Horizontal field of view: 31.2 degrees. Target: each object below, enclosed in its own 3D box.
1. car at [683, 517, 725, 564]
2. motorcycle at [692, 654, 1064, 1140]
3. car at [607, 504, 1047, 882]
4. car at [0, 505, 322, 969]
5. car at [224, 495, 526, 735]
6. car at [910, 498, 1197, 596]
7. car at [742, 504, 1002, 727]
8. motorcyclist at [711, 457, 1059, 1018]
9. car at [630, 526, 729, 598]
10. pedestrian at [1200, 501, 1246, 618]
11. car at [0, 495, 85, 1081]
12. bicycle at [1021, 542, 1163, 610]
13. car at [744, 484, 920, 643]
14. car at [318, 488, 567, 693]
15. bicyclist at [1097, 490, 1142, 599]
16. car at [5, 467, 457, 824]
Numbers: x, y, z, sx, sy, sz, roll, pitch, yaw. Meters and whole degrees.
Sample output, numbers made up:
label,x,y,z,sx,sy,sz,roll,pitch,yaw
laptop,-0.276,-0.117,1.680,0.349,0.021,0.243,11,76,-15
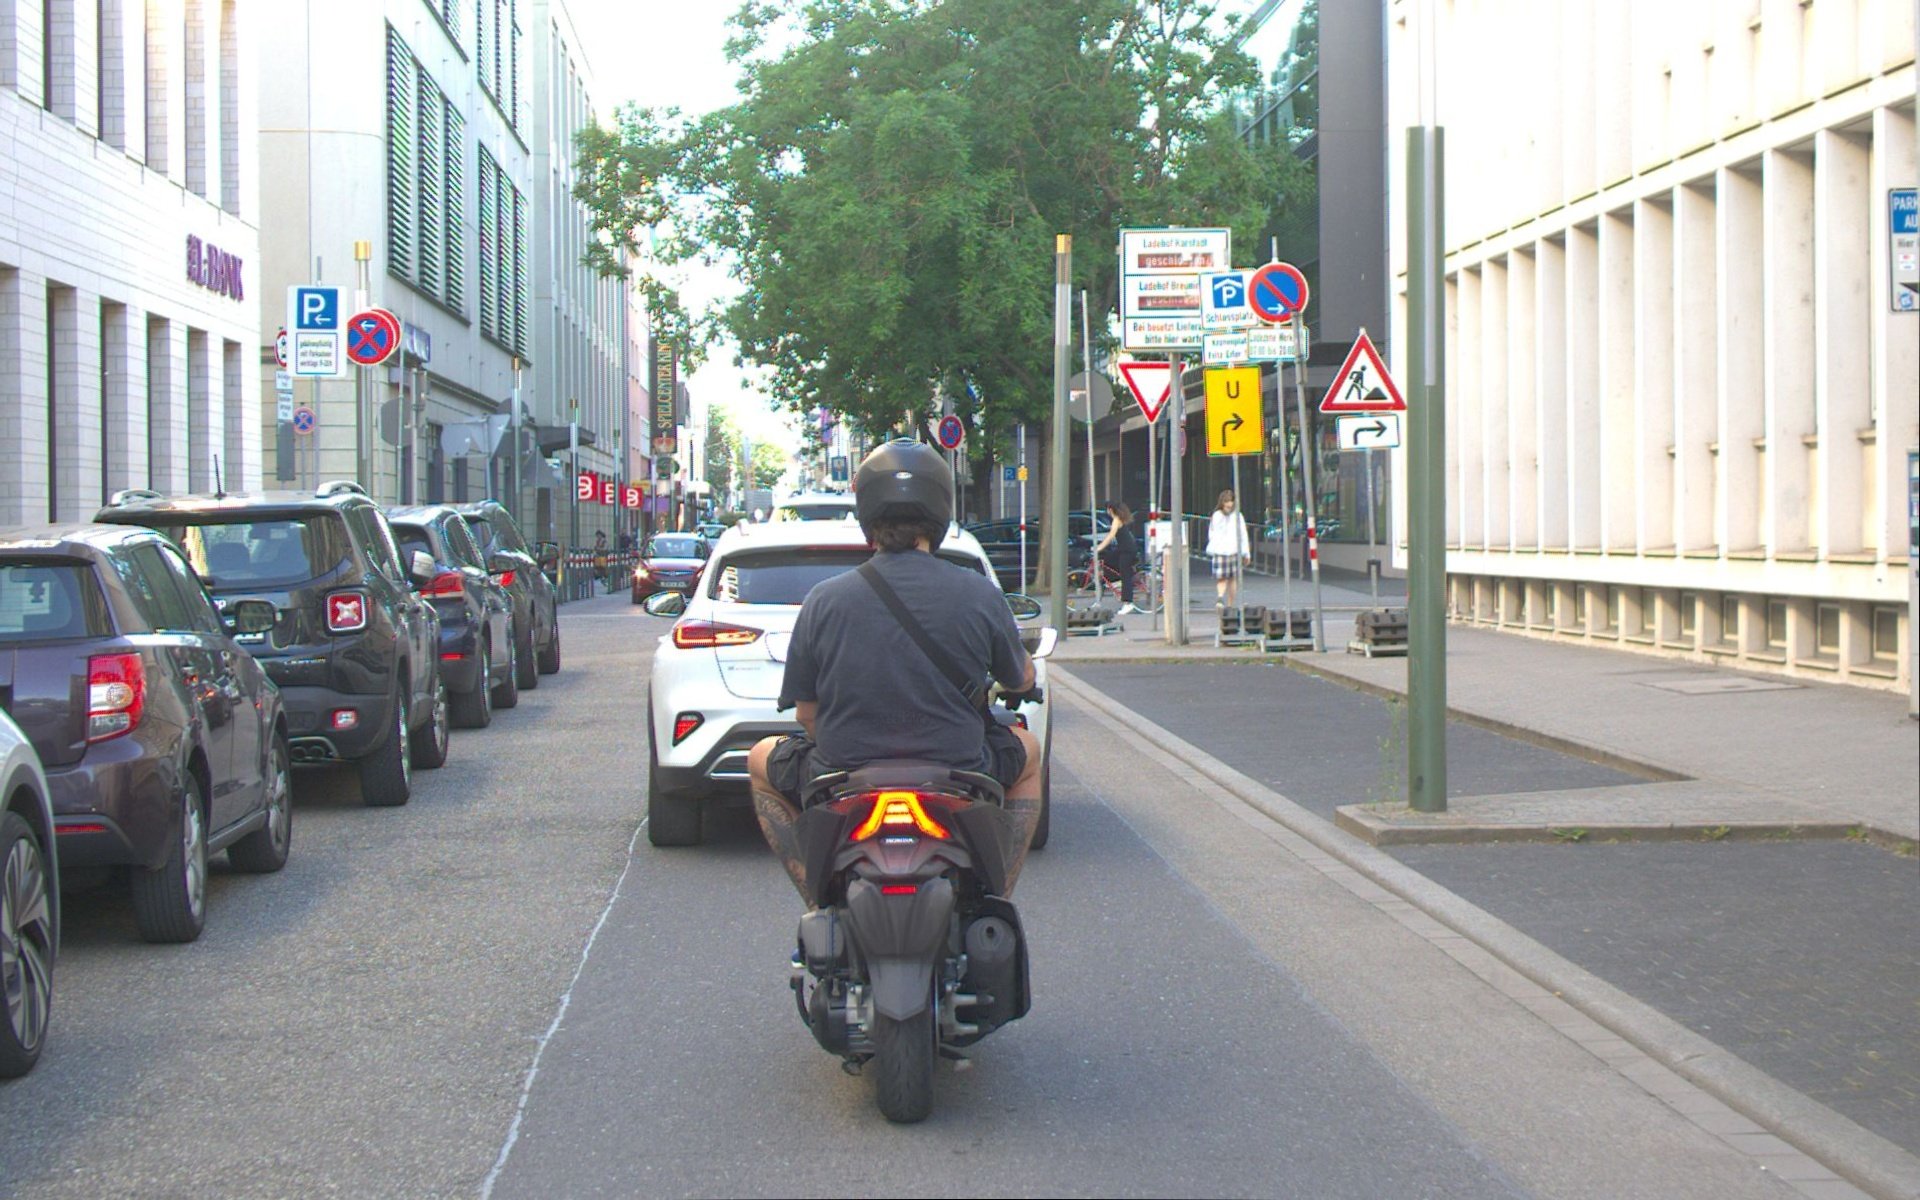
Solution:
label,x,y,z,sx,sy,sz,roll,pitch,yaw
car,-13.108,-3.058,176.077,1.993,2.321,5.022,2,1,-5
motorcycle,-0.223,0.723,9.110,0.872,1.105,1.840,1,0,-2
car,-0.697,0.337,16.787,1.822,1.536,4.264,-2,2,-4
car,-3.750,0.428,13.693,1.822,1.536,4.264,-2,2,-4
car,-4.282,0.039,25.719,1.739,1.589,4.155,-2,2,-4
car,1.694,-0.976,63.242,5.003,1.447,2.000,-4,1,-5
car,-0.769,0.052,26.963,1.822,1.536,4.365,-2,2,-4
motorcyclist,-0.198,0.350,8.989,0.867,1.422,0.455,1,0,-2
car,-6.007,-0.787,73.939,1.822,1.460,4.263,0,-1,-1
pedestrian,3.604,-0.556,47.080,0.559,1.578,0.598,1,0,-1
car,-3.402,0.563,7.768,1.822,1.536,4.447,-2,2,-2
bicycle,1.977,-0.357,51.560,2.102,0.991,0.518,1,0,-1
car,-1.508,-0.459,38.985,1.822,1.639,4.495,-2,2,-4
car,-4.642,-0.145,31.371,1.822,1.672,4.264,-2,2,-4
bicyclist,2.387,-0.830,51.559,0.630,1.620,0.498,1,0,-1
car,-3.909,0.166,19.081,1.822,1.708,4.018,-2,2,-4
